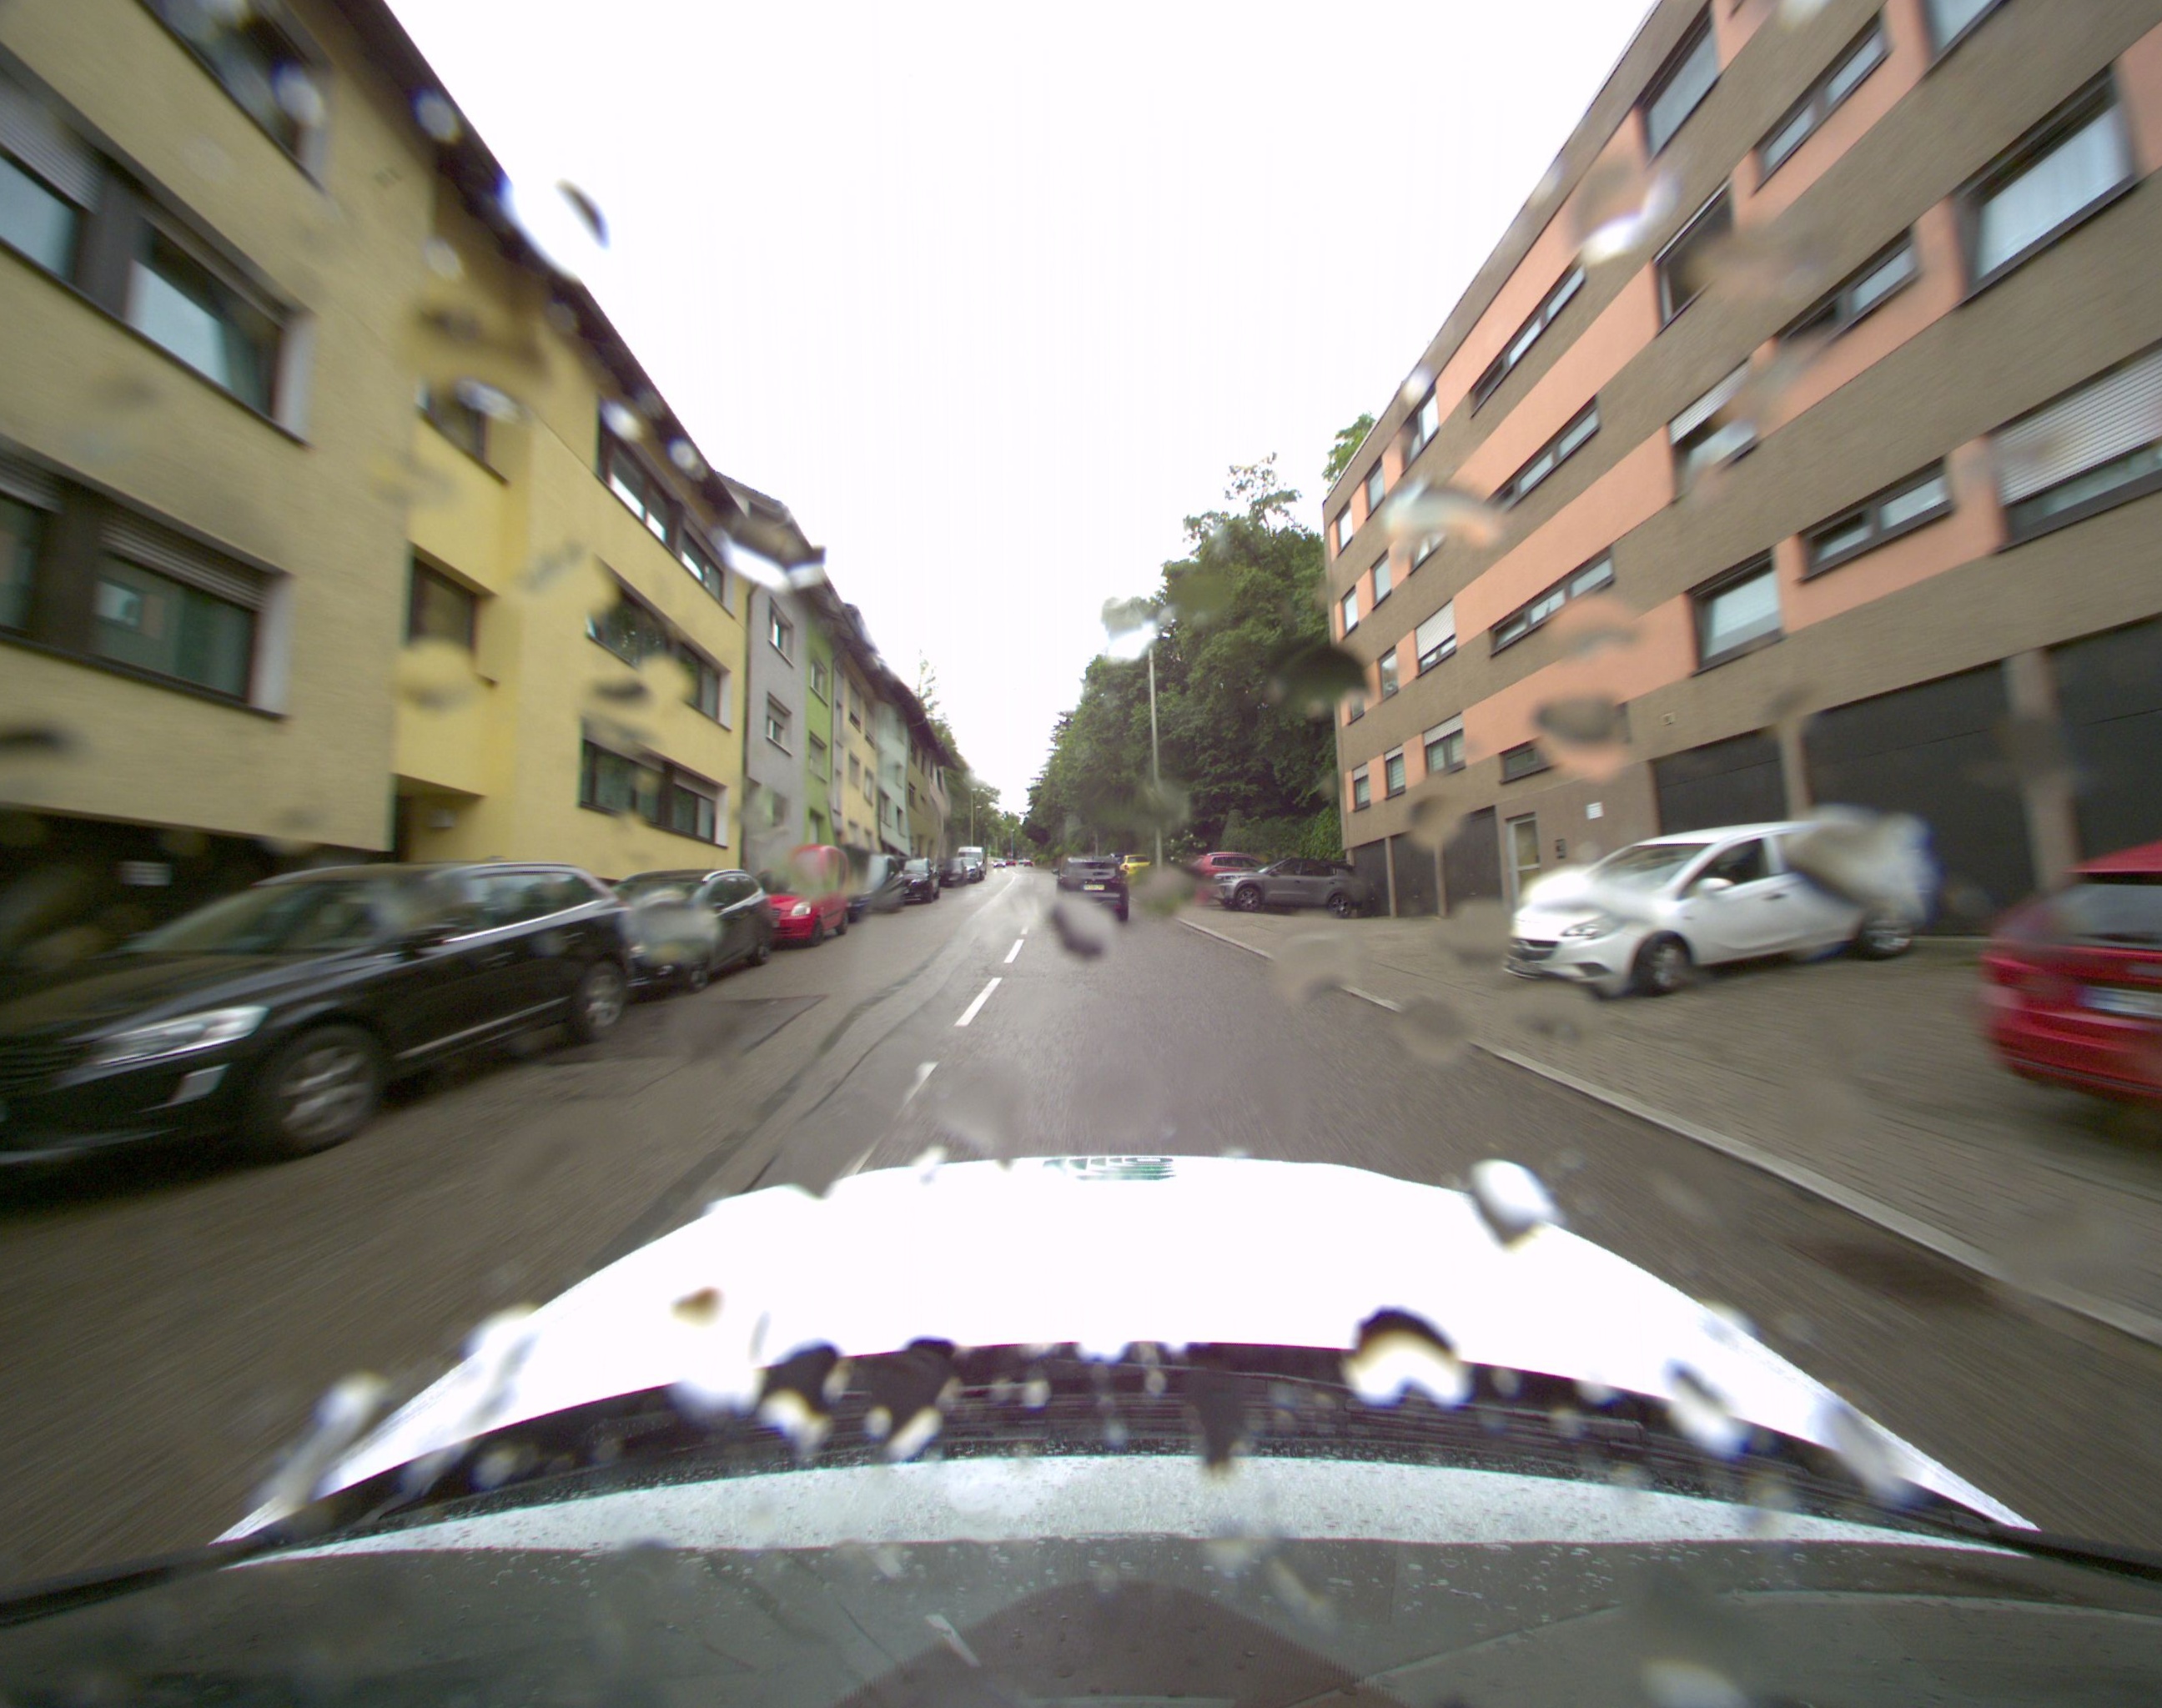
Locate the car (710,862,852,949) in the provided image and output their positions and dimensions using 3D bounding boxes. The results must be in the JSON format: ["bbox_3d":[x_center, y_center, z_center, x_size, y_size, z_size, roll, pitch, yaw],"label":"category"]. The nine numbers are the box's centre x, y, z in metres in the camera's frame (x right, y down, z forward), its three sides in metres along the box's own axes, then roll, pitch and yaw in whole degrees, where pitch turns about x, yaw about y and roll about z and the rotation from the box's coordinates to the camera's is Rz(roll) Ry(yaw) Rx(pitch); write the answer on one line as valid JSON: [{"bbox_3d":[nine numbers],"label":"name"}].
[{"bbox_3d":[-5.787,0.927,16.138,1.725,1.472,3.485,-1,0,-5],"label":"car"}]

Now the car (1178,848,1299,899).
[{"bbox_3d":[5.963,0.742,31.046,4.195,1.735,1.755,2,-1,-8],"label":"car"}]

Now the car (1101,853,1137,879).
[{"bbox_3d":[2.442,0.774,53.257,1.807,1.530,4.410,-3,0,-4],"label":"car"}]

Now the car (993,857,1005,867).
[{"bbox_3d":[-14.239,1.351,141.536,1.990,1.559,3.993,1,0,-5],"label":"car"}]

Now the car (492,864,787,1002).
[{"bbox_3d":[-5.760,0.910,11.377,1.990,1.472,4.341,-1,0,-5],"label":"car"}]

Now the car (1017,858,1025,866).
[{"bbox_3d":[-16.710,2.346,226.911,1.987,2.014,3.997,1,-3,-1],"label":"car"}]

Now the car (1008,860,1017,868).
[{"bbox_3d":[-15.022,2.182,178.332,2.071,1.559,3.993,0,0,-5],"label":"car"}]

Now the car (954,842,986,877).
[{"bbox_3d":[-8.219,0.378,60.743,1.987,2.475,5.775,-1,0,-5],"label":"car"}]

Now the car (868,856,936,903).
[{"bbox_3d":[-6.518,0.868,30.106,1.850,1.585,4.298,-1,0,-5],"label":"car"}]

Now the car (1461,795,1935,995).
[{"bbox_3d":[6.477,0.373,8.769,3.959,1.530,1.688,-6,0,-8],"label":"car"}]

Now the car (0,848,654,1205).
[{"bbox_3d":[-5.293,0.811,5.998,1.988,1.650,4.439,-1,0,-1],"label":"car"}]

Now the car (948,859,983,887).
[{"bbox_3d":[-7.639,1.225,54.045,1.987,1.755,4.472,-1,0,-5],"label":"car"}]

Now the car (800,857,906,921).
[{"bbox_3d":[-6.256,0.888,22.870,1.990,1.585,4.464,-1,0,-5],"label":"car"}]

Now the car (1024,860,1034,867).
[{"bbox_3d":[-11.294,2.098,176.249,2.072,1.559,3.991,0,0,-7],"label":"car"}]

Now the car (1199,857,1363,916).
[{"bbox_3d":[5.642,0.907,23.235,4.192,1.496,1.756,2,-1,-6],"label":"car"}]

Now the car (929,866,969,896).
[{"bbox_3d":[-7.693,1.555,47.810,1.987,1.585,4.298,-1,0,-5],"label":"car"}]

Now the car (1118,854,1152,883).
[{"bbox_3d":[3.036,0.809,46.310,1.628,1.530,3.998,1,0,-1],"label":"car"}]

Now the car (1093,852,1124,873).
[{"bbox_3d":[2.154,0.678,63.991,1.808,1.530,4.408,-3,0,-6],"label":"car"}]

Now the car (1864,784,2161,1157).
[{"bbox_3d":[6.850,0.313,3.994,4.335,1.529,1.873,-7,0,-5],"label":"car"}]

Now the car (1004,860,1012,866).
[{"bbox_3d":[-17.740,2.232,198.158,2.071,1.559,3.993,0,0,-5],"label":"car"}]

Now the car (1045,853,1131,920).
[{"bbox_3d":[0.089,0.783,21.548,1.989,1.559,3.995,1,0,-4],"label":"car"}]

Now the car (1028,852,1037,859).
[{"bbox_3d":[-12.224,0.389,205.520,1.988,1.560,3.997,-2,-2,-1],"label":"car"}]
